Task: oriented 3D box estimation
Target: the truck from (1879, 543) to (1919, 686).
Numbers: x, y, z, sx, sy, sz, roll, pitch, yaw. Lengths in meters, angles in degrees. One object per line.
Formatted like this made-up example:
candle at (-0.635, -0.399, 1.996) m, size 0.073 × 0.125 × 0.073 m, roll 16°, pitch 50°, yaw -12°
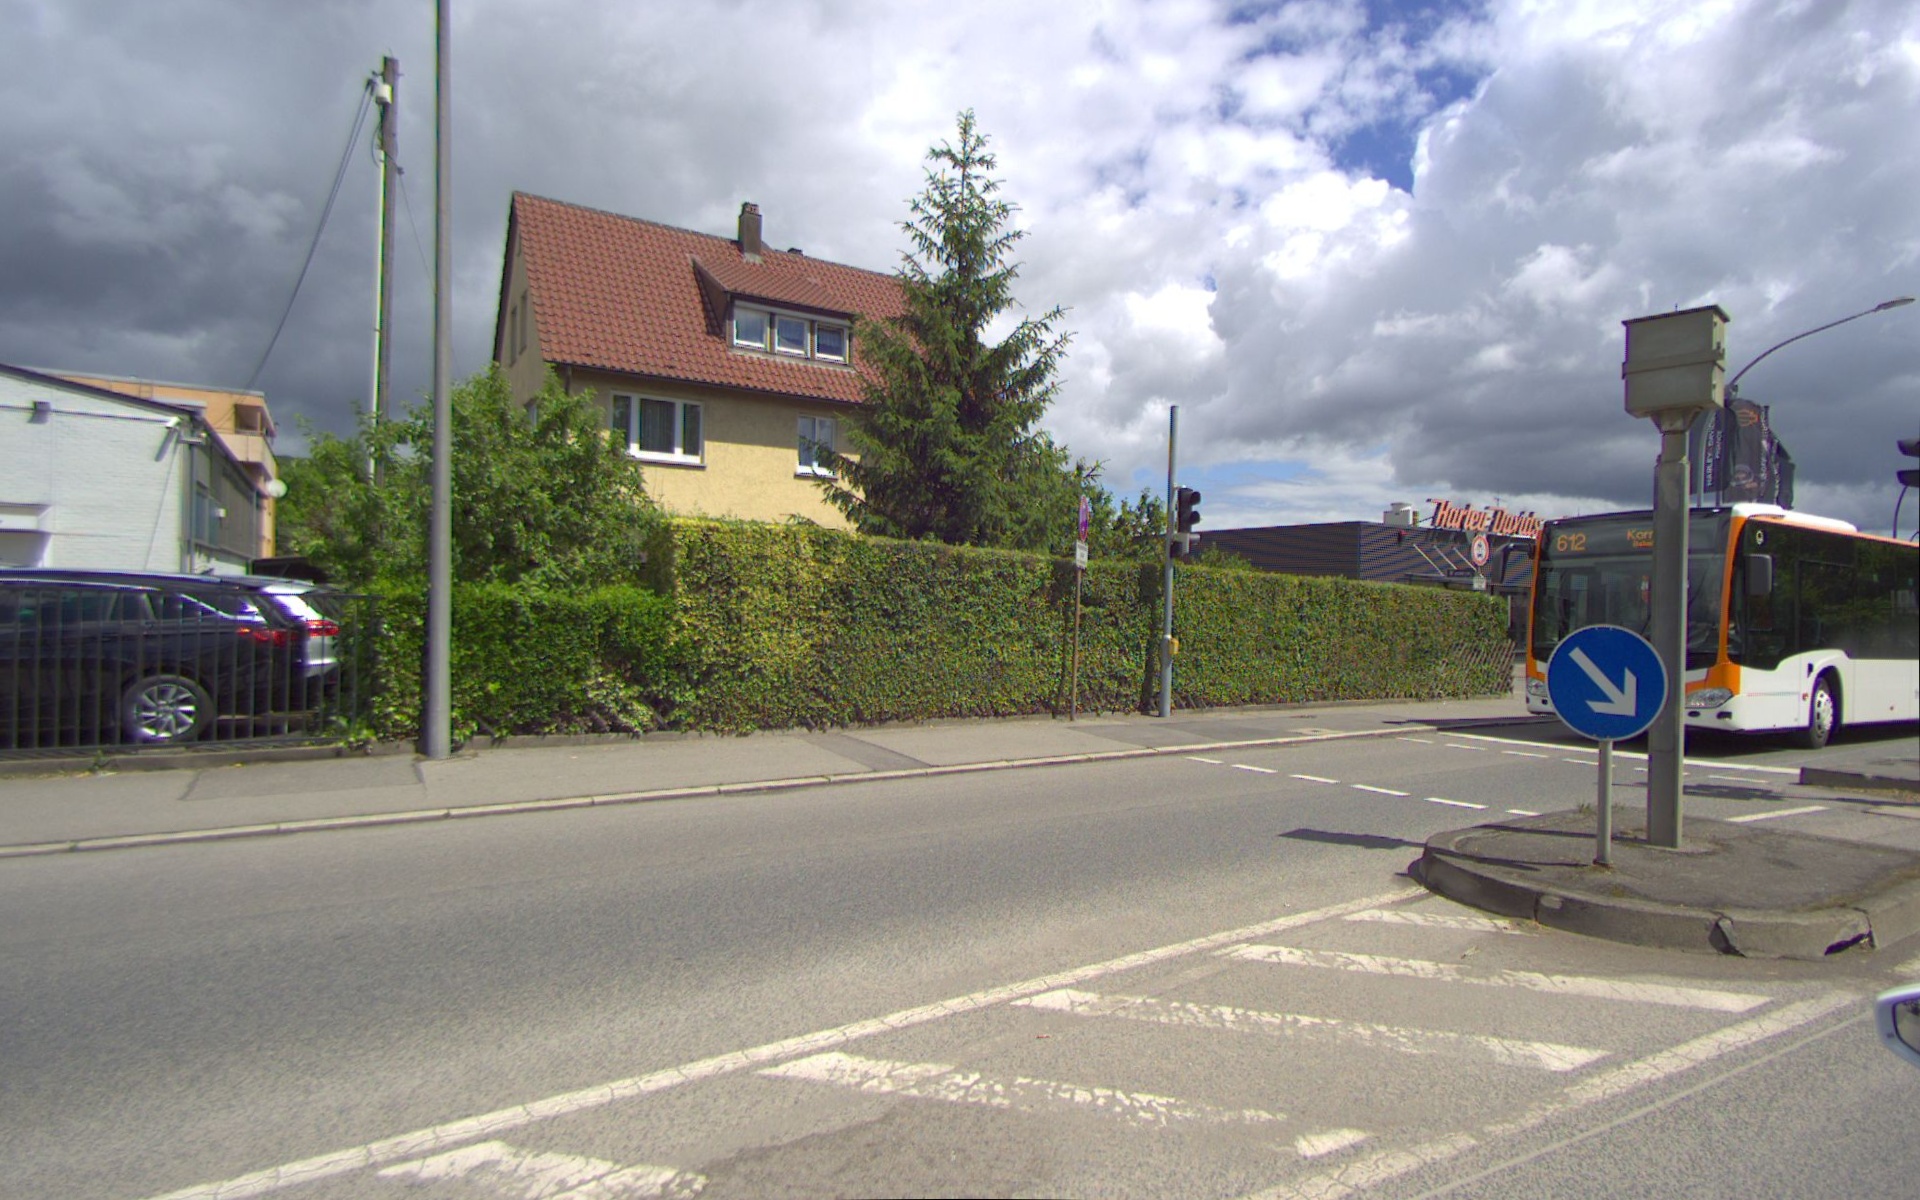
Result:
truck at (30.400, 0.521, 30.499) m, size 6.448 × 4.107 × 2.776 m, roll 2°, pitch -1°, yaw -40°

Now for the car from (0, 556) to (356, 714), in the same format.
car at (-9.152, 0.374, 11.287) m, size 3.953 × 1.561 × 1.984 m, roll 2°, pitch -1°, yaw -30°

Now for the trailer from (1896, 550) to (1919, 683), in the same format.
trailer at (36.043, 0.772, 35.229) m, size 15.429 × 4.106 × 2.775 m, roll 3°, pitch -1°, yaw -40°

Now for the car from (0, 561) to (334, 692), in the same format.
car at (-10.854, 0.360, 13.562) m, size 3.953 × 1.569 × 1.984 m, roll 2°, pitch -1°, yaw -30°

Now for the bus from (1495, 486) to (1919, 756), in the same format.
bus at (13.257, 0.470, 15.700) m, size 12.123 × 3.070 × 2.706 m, roll 2°, pitch -2°, yaw -30°

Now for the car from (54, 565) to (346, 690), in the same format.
car at (-13.584, 0.510, 18.321) m, size 3.953 × 2.040 × 1.984 m, roll 2°, pitch -1°, yaw -30°

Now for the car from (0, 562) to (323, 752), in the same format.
car at (-7.996, 0.449, 8.780) m, size 3.997 × 1.502 × 1.850 m, roll 2°, pitch -1°, yaw -31°

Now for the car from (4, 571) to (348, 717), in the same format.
car at (-12.044, 0.674, 15.845) m, size 3.953 × 2.040 × 1.984 m, roll 2°, pitch -1°, yaw -30°

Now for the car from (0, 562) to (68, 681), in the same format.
car at (-18.226, 0.306, 17.236) m, size 3.953 × 2.040 × 1.984 m, roll 2°, pitch -1°, yaw -30°
